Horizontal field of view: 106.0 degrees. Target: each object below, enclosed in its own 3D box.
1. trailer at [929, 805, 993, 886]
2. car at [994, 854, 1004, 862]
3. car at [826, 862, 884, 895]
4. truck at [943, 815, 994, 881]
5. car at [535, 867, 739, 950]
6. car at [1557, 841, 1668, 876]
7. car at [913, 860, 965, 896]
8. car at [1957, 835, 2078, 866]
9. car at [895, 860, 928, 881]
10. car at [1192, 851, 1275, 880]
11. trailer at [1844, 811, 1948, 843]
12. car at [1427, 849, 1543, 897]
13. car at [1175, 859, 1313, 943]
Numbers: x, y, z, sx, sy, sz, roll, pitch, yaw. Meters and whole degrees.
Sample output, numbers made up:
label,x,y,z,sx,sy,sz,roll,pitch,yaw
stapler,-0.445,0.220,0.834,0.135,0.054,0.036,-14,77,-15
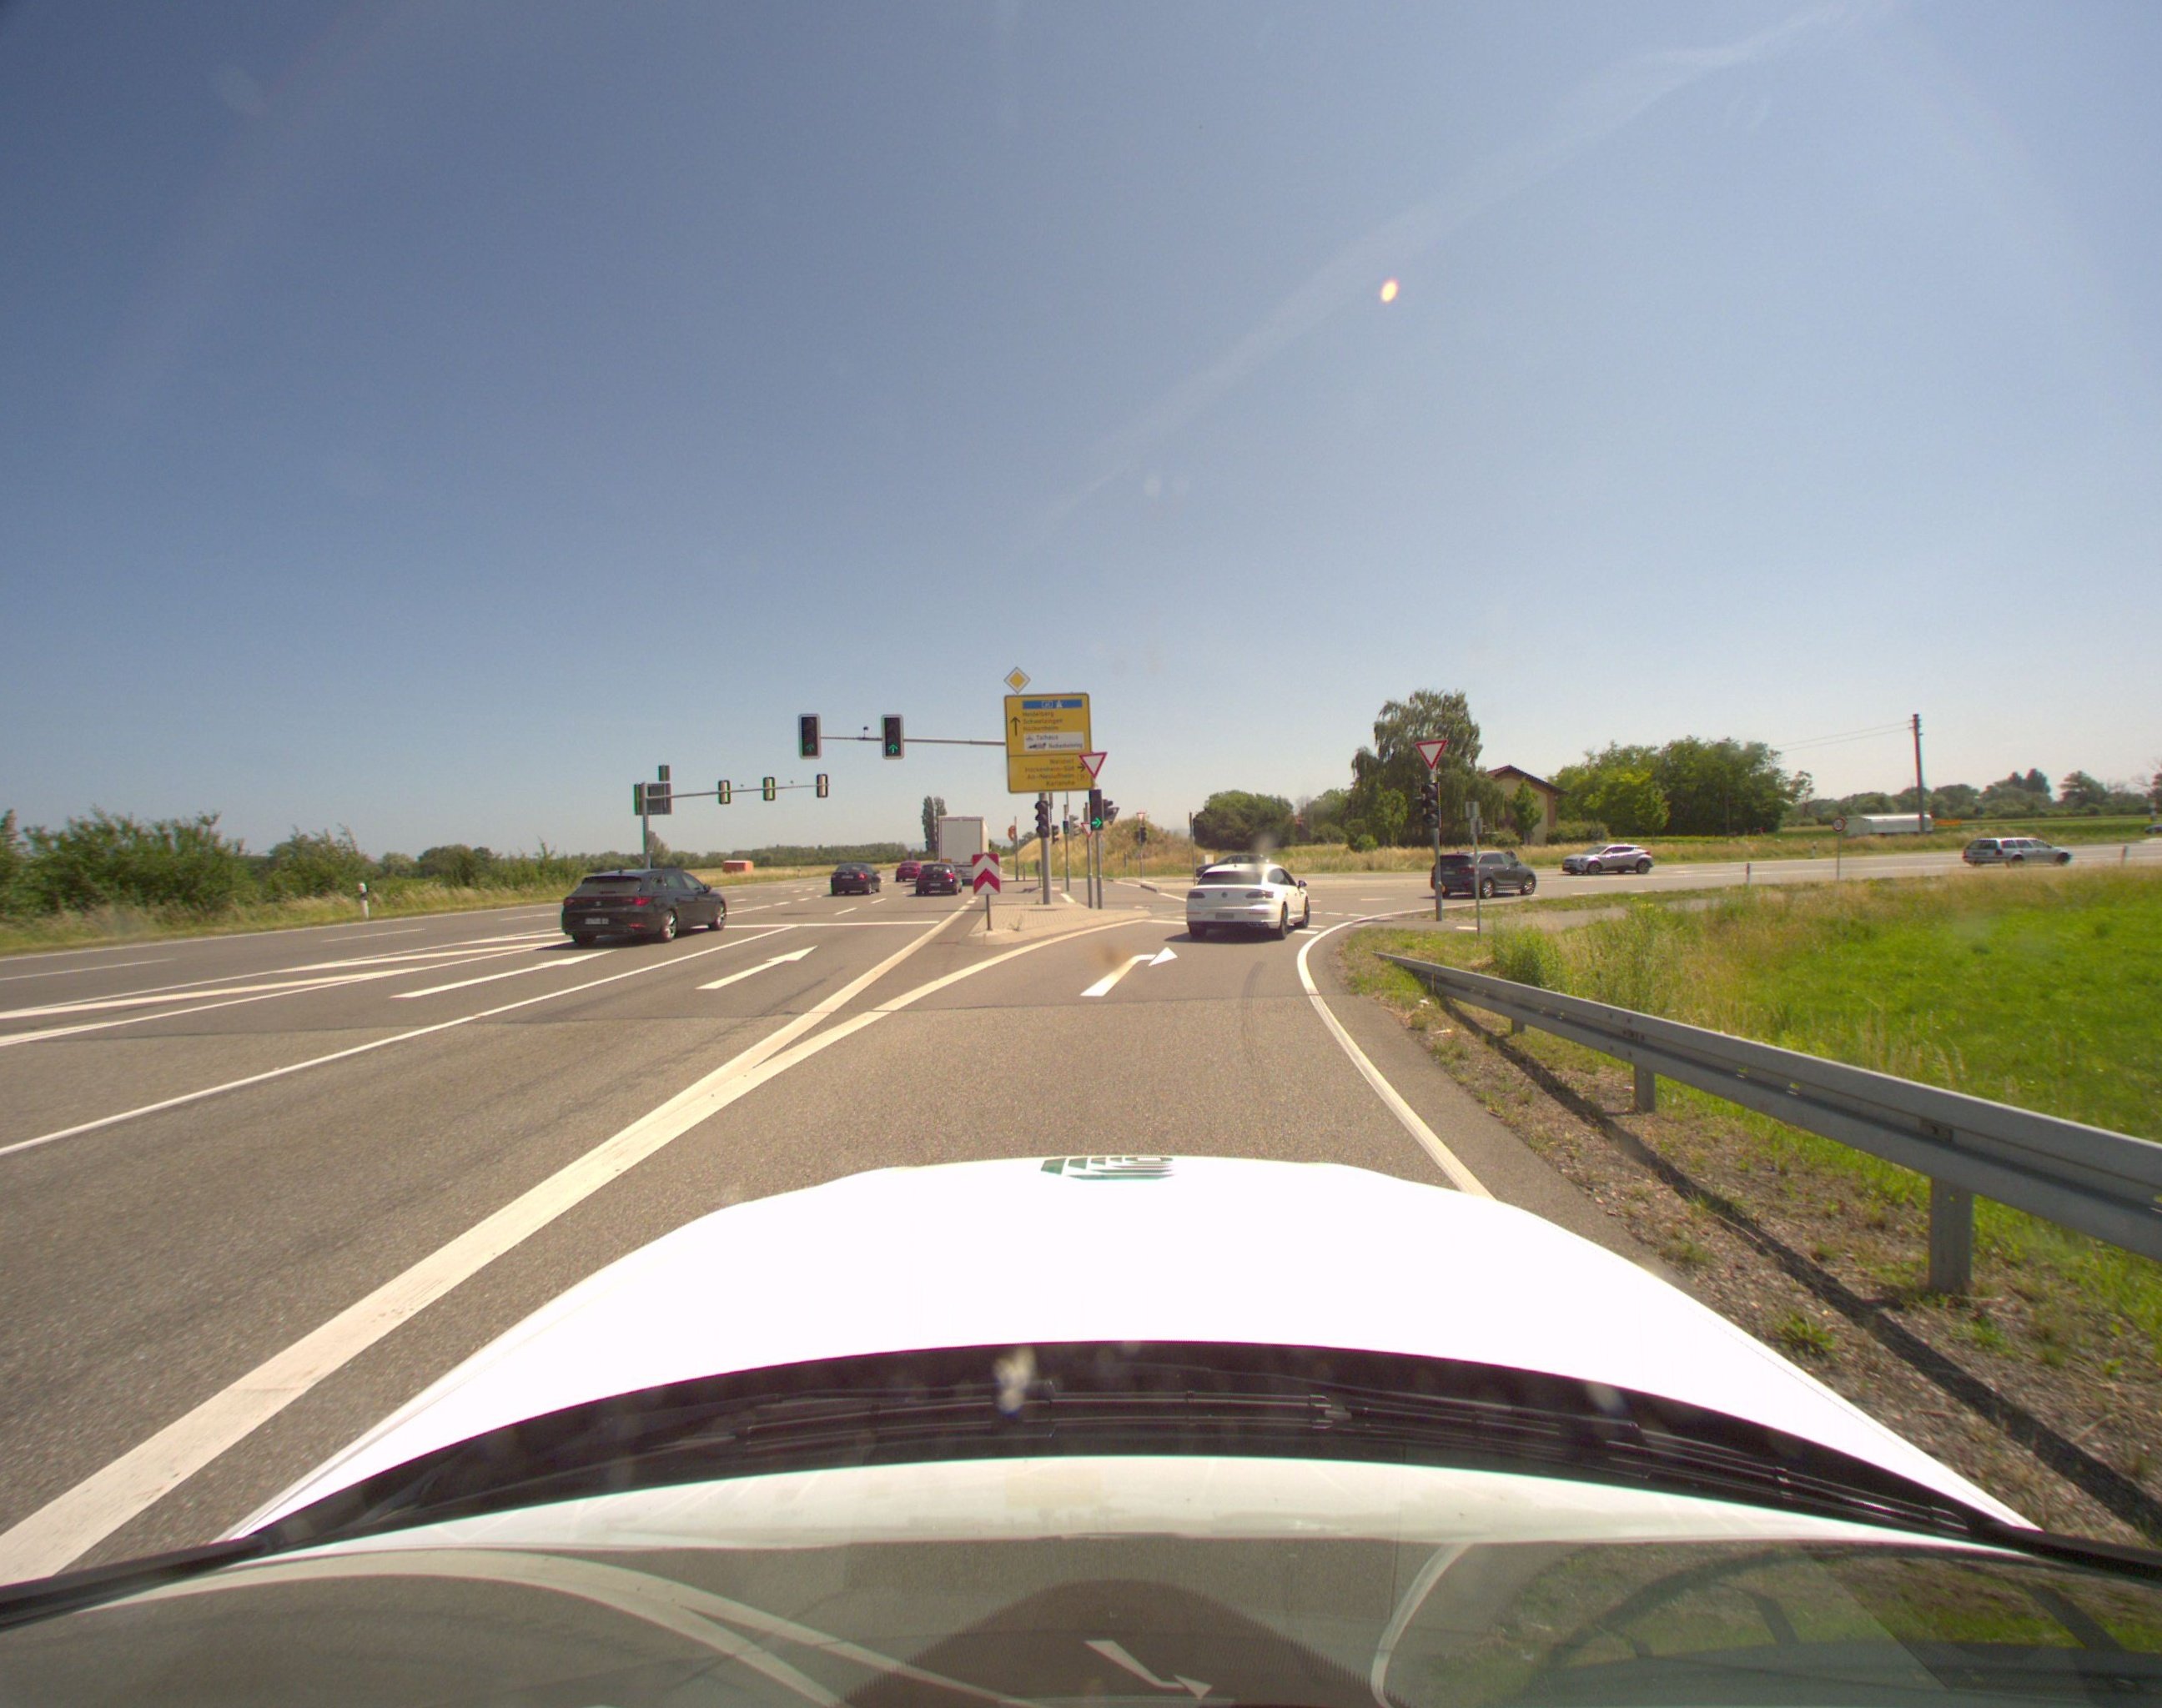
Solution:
label,x,y,z,sx,sy,sz,roll,pitch,yaw
trailer,-7.505,-0.448,52.675,3.376,4.543,12.846,-1,0,-5
car,-17.819,0.879,177.174,1.978,1.869,4.456,-1,-1,-7
car,-10.329,1.103,37.534,1.671,1.412,4.460,-1,-1,-4
truck,-8.154,-0.390,59.630,3.376,4.543,6.360,-1,0,-6
car,-8.920,1.009,16.888,1.884,1.447,4.521,-1,-1,-2
car,27.310,0.206,41.929,4.522,1.543,1.871,-2,1,-1
car,-6.223,1.022,36.106,1.780,1.431,4.376,0,0,-3
car,45.287,-0.140,39.426,4.073,1.429,1.802,0,-2,-6
car,-12.096,1.137,58.459,1.746,1.421,4.558,0,0,-5
car,8.368,0.608,44.883,4.247,1.368,1.776,-2,1,-1
trailer,71.142,-2.350,71.157,6.339,2.455,2.687,-2,1,1
car,14.954,0.671,30.092,4.396,1.616,1.920,0,-1,-34
car,3.498,0.843,16.728,1.831,1.433,4.633,0,0,23
